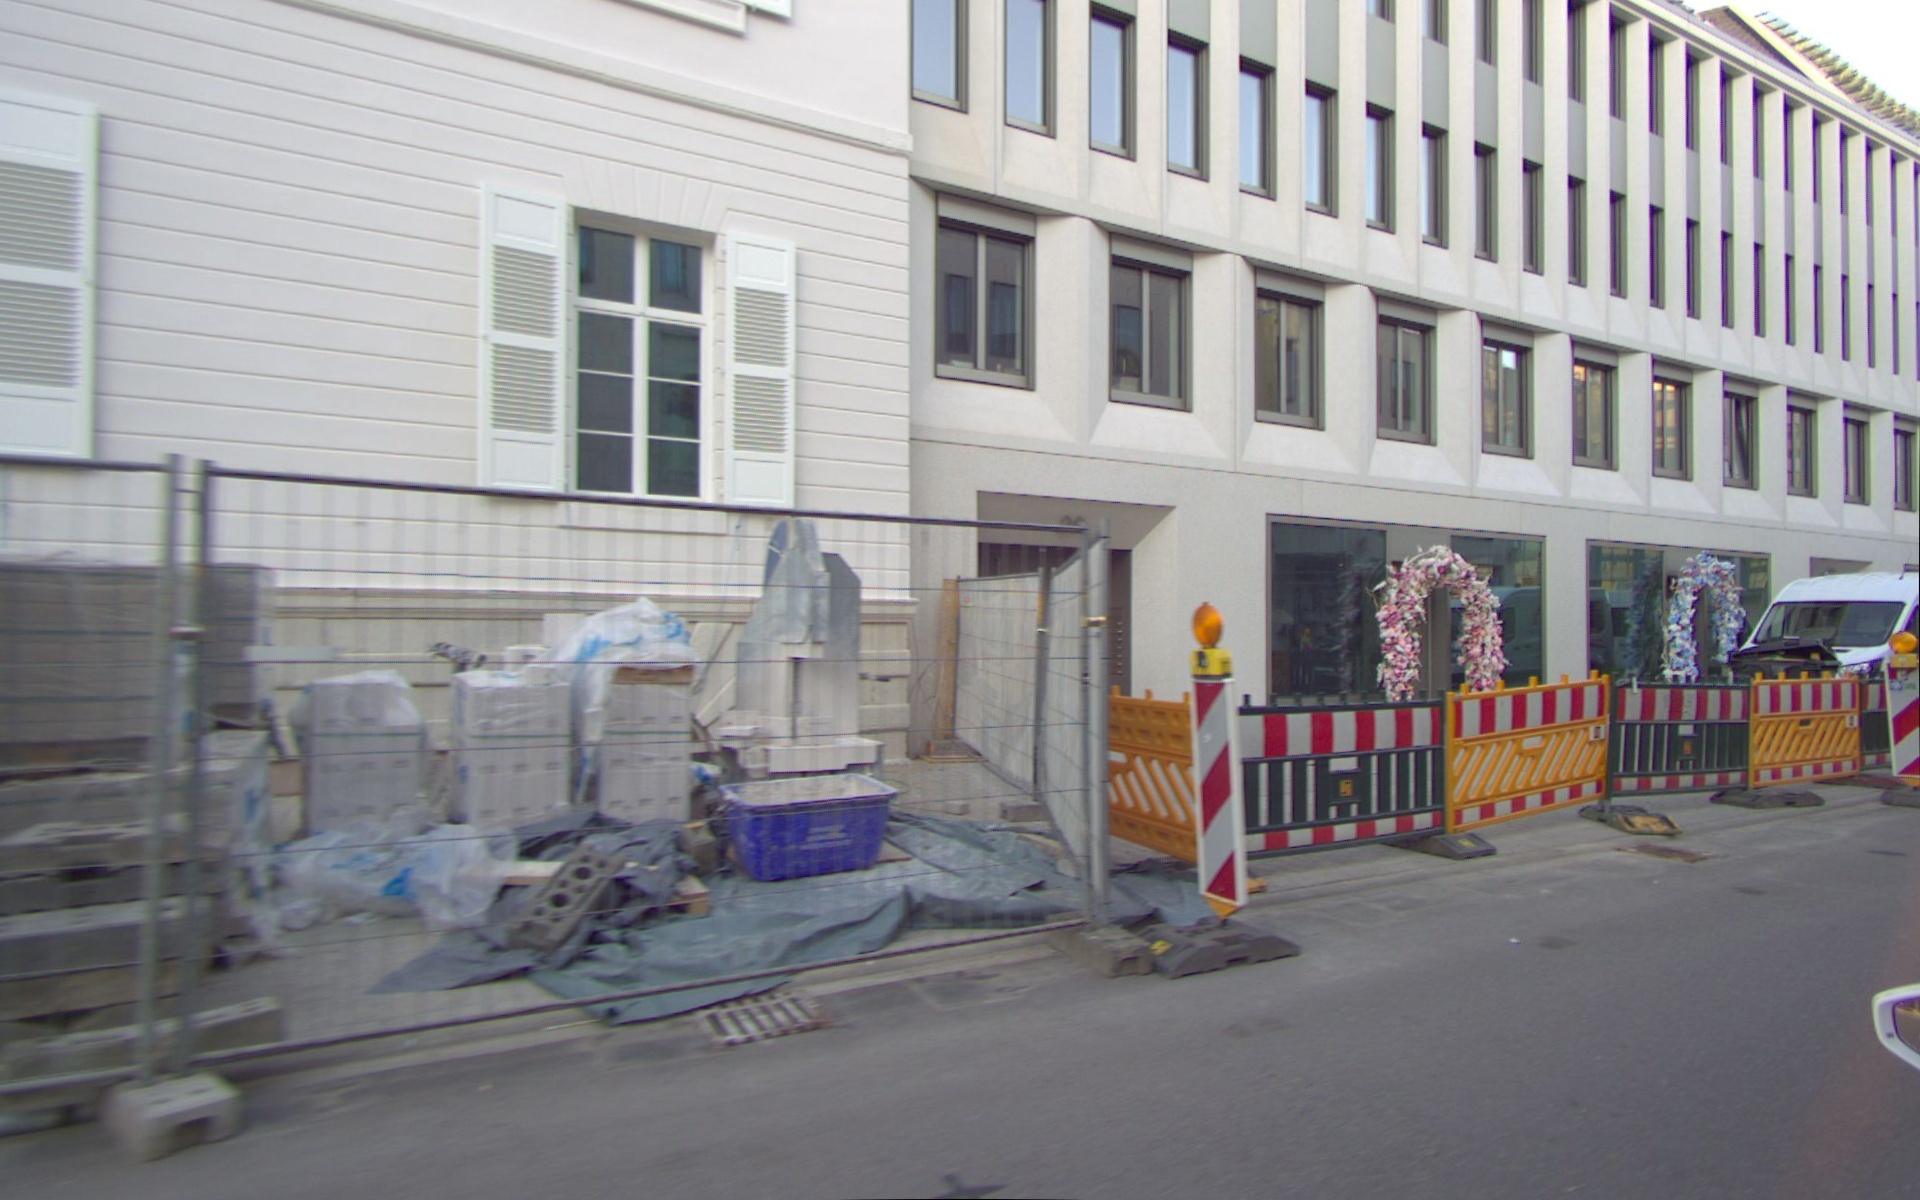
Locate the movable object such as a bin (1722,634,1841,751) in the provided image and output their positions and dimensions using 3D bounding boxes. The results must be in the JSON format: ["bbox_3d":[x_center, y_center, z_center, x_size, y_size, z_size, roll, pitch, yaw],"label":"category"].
[{"bbox_3d":[11.271,1.214,13.775,1.382,1.485,1.035,1,-1,-40],"label":"movable object such as a bin"}]

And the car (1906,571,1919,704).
[{"bbox_3d":[21.121,0.732,19.601,5.925,2.503,2.165,1,-1,-29],"label":"car"}]

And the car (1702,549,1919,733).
[{"bbox_3d":[14.659,0.622,16.079,5.924,2.503,2.165,1,-1,-28],"label":"car"}]
